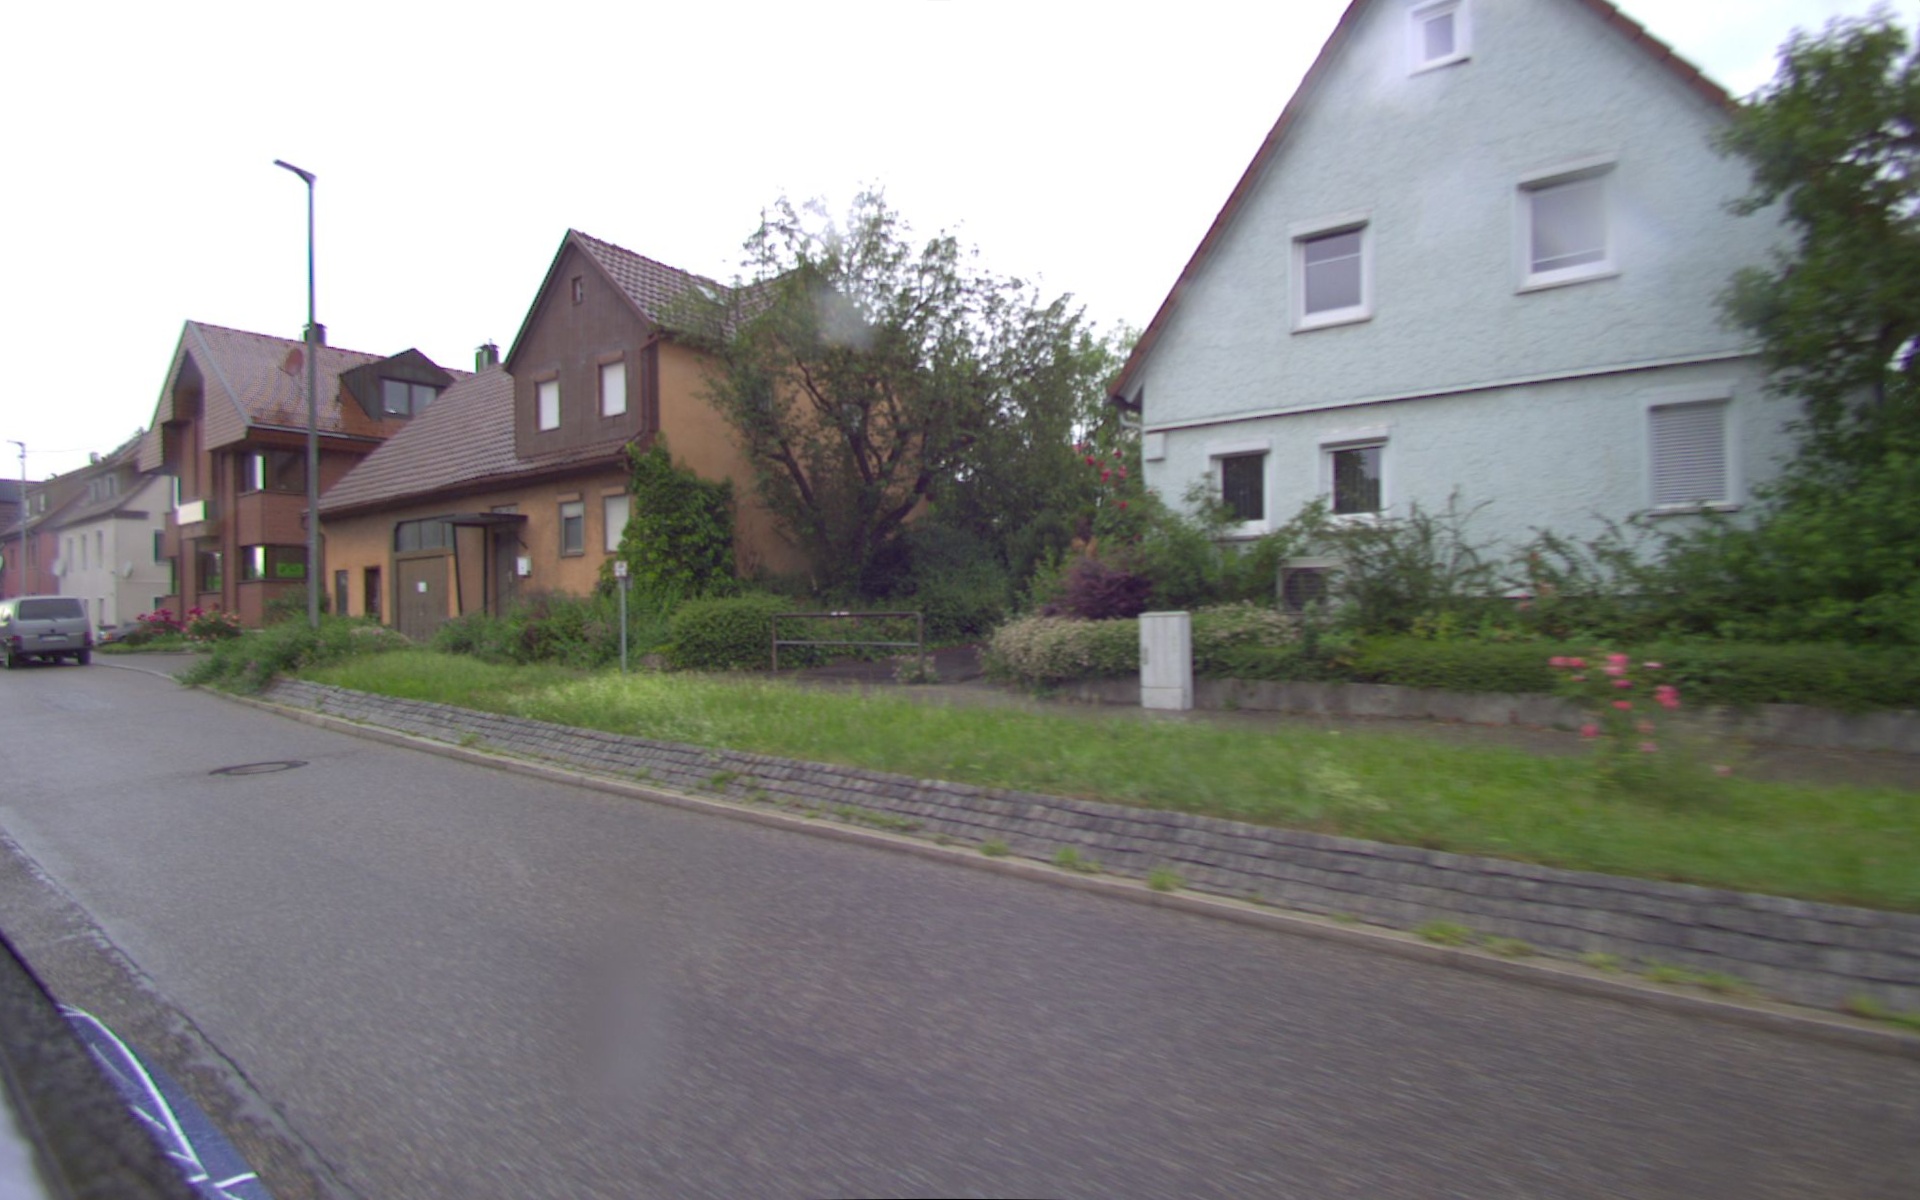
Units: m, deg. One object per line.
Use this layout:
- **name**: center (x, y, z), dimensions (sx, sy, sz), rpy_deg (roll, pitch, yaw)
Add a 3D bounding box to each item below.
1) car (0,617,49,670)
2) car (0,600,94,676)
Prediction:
- **car**: center (-30.361, 1.353, 31.901), dimensions (3.658, 1.586, 1.790), rpy_deg (-1, -1, 37)
- **car**: center (-26.463, 1.046, 28.819), dimensions (4.183, 1.937, 1.824), rpy_deg (-1, 1, 37)
